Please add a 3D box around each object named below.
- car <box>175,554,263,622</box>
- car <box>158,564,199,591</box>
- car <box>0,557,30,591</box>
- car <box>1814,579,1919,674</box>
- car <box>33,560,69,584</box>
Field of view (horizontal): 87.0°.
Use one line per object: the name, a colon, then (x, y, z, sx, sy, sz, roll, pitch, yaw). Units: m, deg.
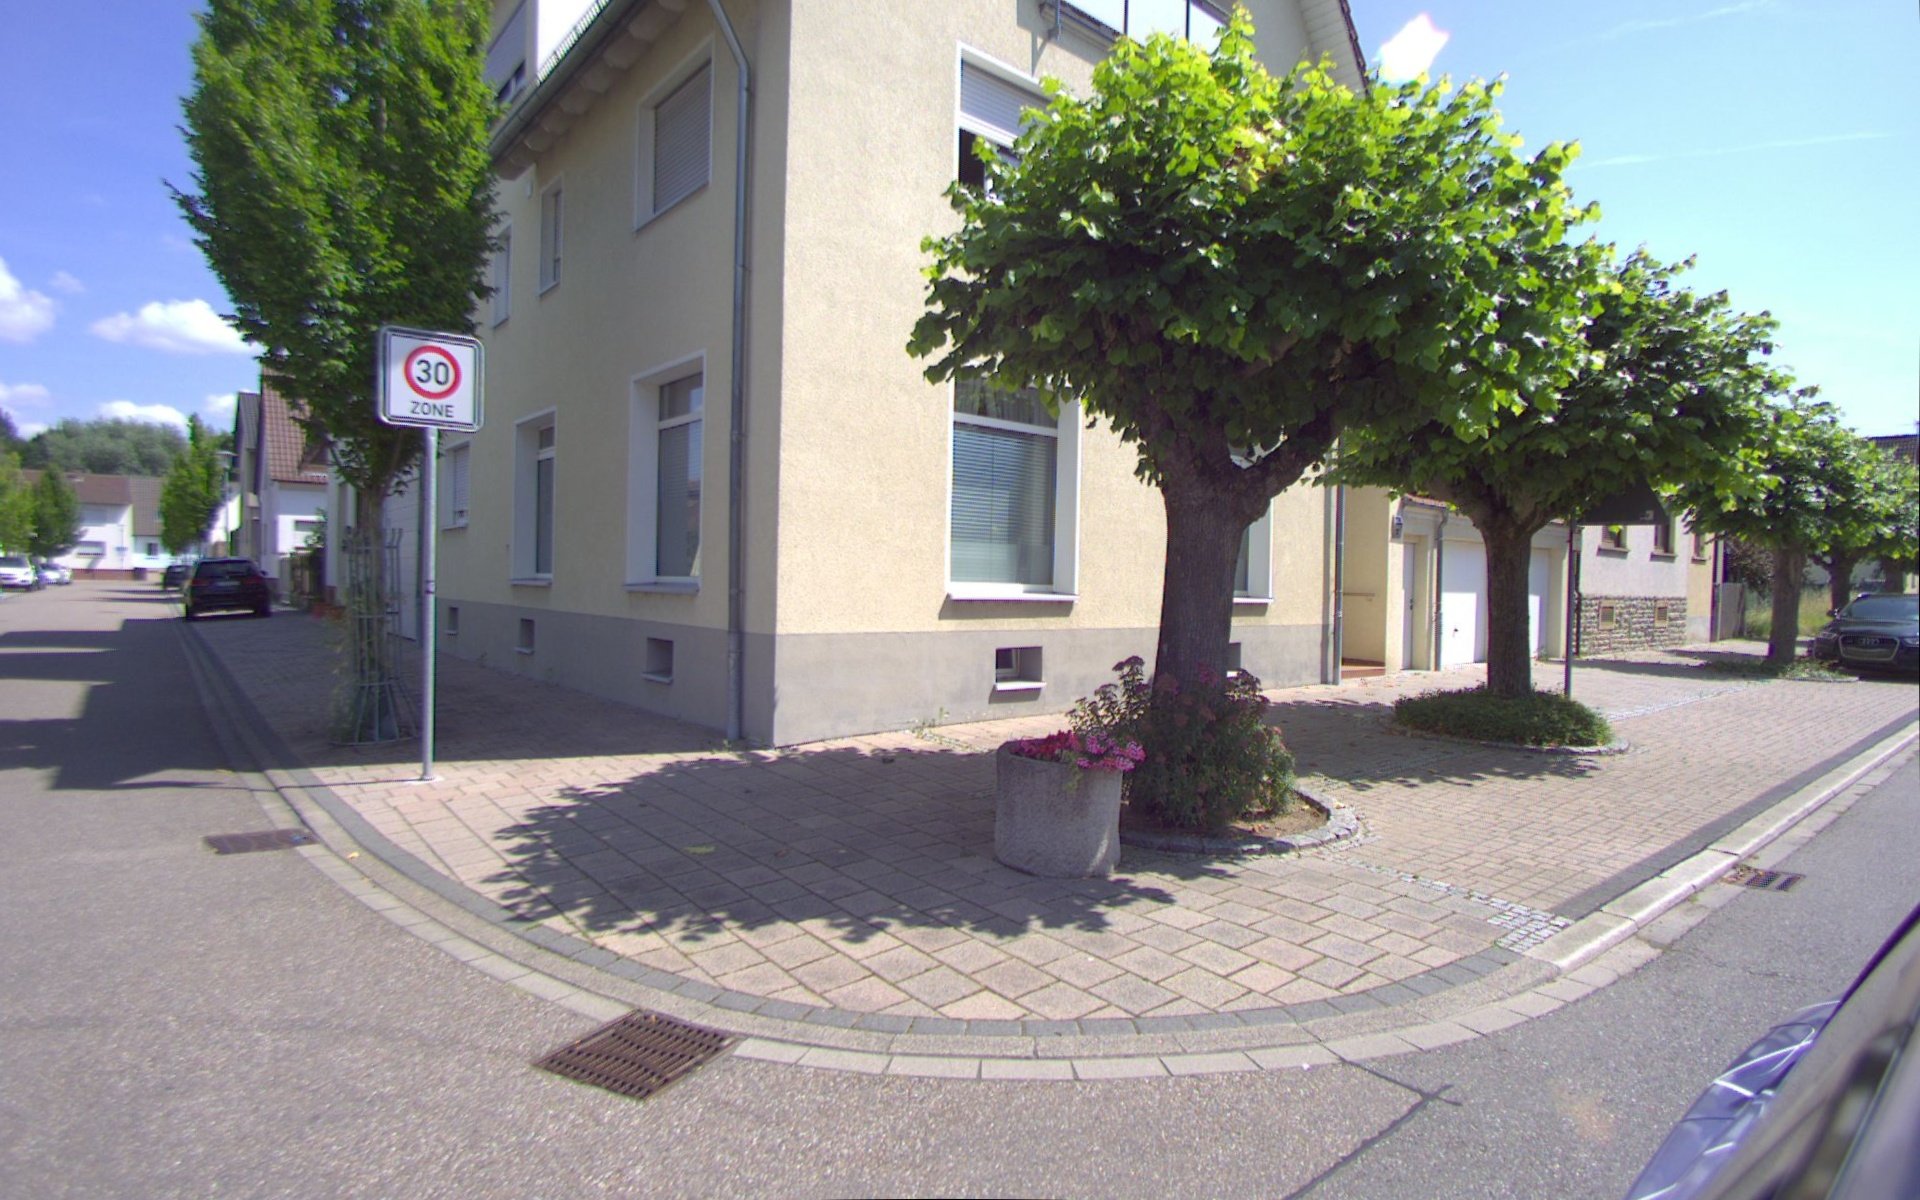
car: (-20.962, -0.402, 28.576, 1.710, 1.741, 3.736, -3, 4, -40)
car: (-45.820, -1.346, 59.301, 1.710, 1.430, 3.736, -3, 4, -40)
car: (-46.056, -1.242, 48.716, 1.709, 1.554, 3.735, 1, 0, -40)
car: (17.885, 0.467, 19.054, 3.981, 1.605, 1.830, 0, 2, -37)
car: (-62.278, -1.886, 69.377, 1.709, 1.554, 3.735, 1, 0, -40)
